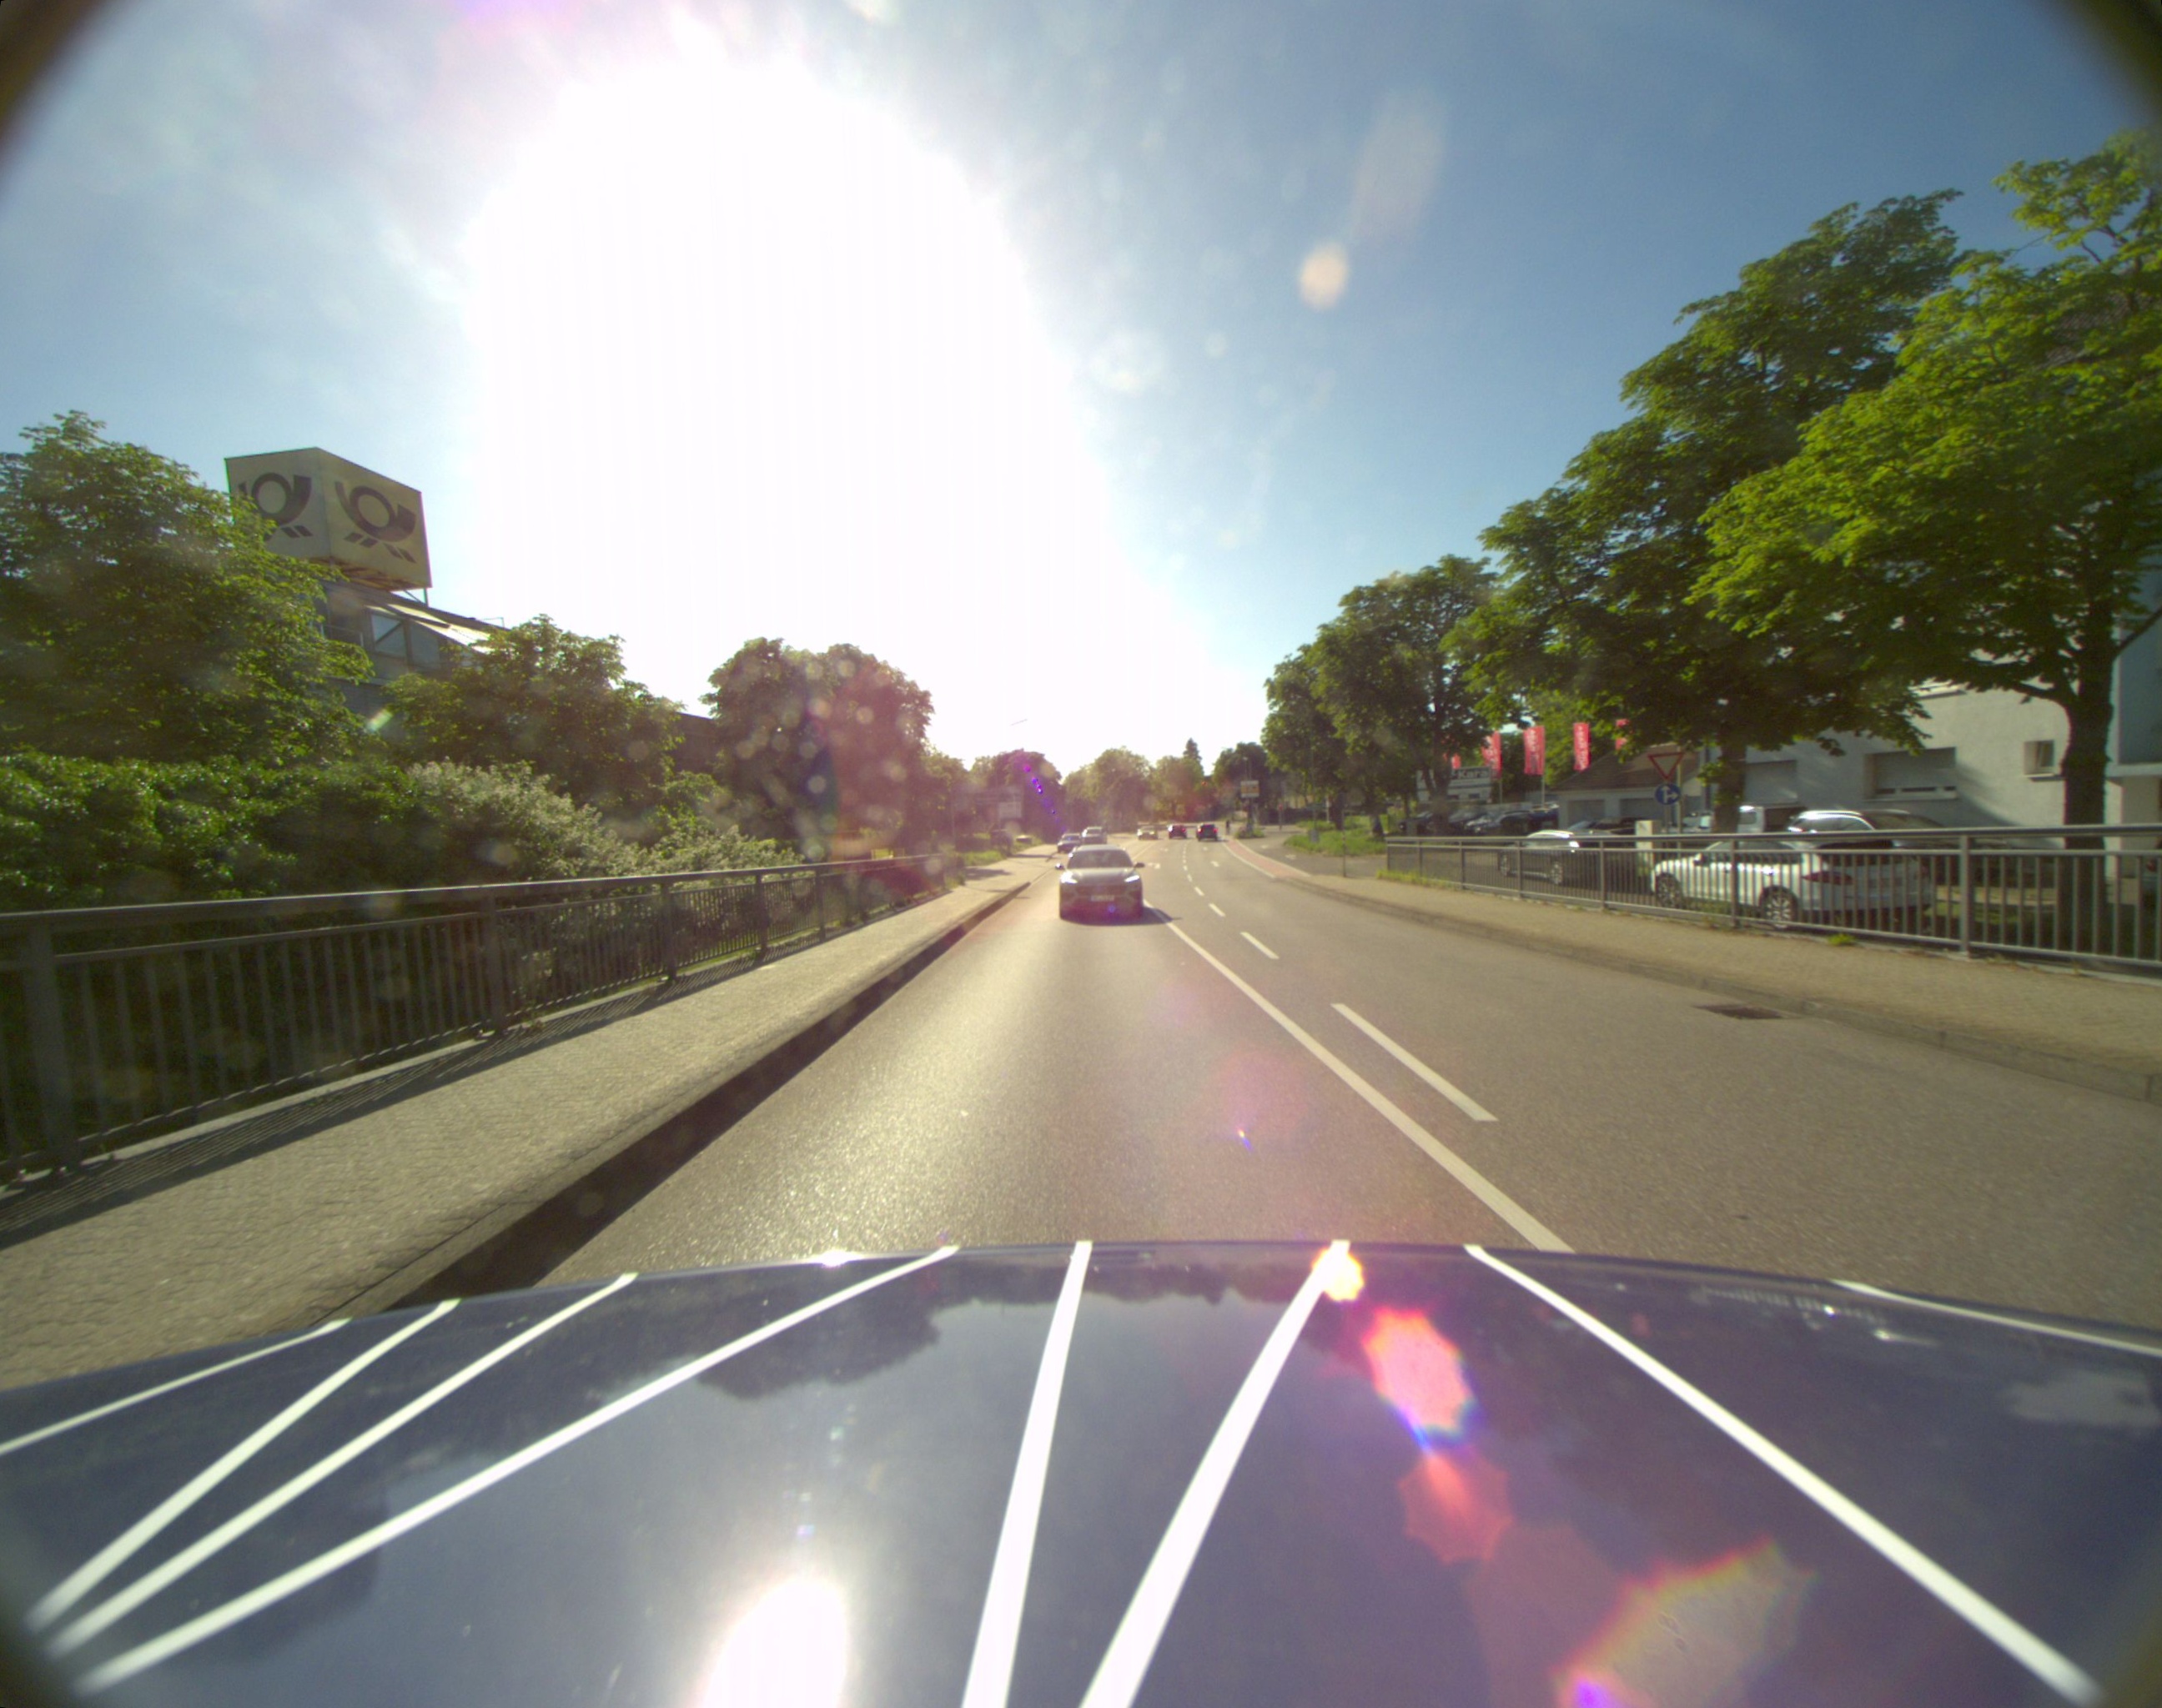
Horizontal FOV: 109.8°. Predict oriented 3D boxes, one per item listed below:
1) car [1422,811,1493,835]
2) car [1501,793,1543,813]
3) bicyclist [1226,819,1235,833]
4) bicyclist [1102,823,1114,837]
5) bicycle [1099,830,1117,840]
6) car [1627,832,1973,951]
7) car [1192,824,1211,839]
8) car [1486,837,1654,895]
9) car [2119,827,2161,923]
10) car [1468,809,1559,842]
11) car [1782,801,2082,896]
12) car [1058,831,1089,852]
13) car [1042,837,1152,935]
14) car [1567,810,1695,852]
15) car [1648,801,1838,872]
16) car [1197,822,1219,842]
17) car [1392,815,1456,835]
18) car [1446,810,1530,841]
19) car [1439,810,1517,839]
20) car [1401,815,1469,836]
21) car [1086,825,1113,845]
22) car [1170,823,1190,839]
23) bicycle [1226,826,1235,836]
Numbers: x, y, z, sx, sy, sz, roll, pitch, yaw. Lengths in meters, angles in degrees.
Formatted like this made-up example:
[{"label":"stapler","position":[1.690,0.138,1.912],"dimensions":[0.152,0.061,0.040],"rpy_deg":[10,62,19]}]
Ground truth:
[{"label":"car","position":[25.446,-2.077,51.399],"dimensions":[3.880,1.405,1.944],"rpy_deg":[-4,3,-11]},{"label":"car","position":[35.621,-4.146,61.462],"dimensions":[1.742,1.454,4.001],"rpy_deg":[-2,3,12]},{"label":"bicyclist","position":[16.561,-3.103,84.123],"dimensions":[0.935,1.394,0.823],"rpy_deg":[-3,3,11]},{"label":"bicyclist","position":[3.423,-3.066,96.441],"dimensions":[0.890,1.684,1.192],"rpy_deg":[-2,3,31]},{"label":"bicycle","position":[3.420,-2.429,96.427],"dimensions":[0.901,1.119,2.957],"rpy_deg":[-2,3,31]},{"label":"car","position":[13.732,0.553,15.140],"dimensions":[2.042,1.719,5.234],"rpy_deg":[-4,3,2]},{"label":"car","position":[12.784,-2.378,80.471],"dimensions":[1.787,1.407,3.891],"rpy_deg":[-2,3,11]},{"label":"car","position":[14.397,0.267,22.787],"dimensions":[2.042,1.456,4.961],"rpy_deg":[-3,1,4]},{"label":"car","position":[19.948,0.289,13.061],"dimensions":[3.673,1.502,1.781],"rpy_deg":[-5,3,-25]},{"label":"car","position":[24.149,-1.590,42.449],"dimensions":[4.410,1.566,1.811],"rpy_deg":[-4,3,-15]},{"label":"car","position":[20.607,-0.240,18.819],"dimensions":[2.074,1.920,4.784],"rpy_deg":[-4,3,1]},{"label":"car","position":[-0.583,-1.032,60.142],"dimensions":[1.812,1.412,4.424],"rpy_deg":[-2,3,7]},{"label":"car","position":[0.468,0.558,16.356],"dimensions":[1.713,1.637,4.055],"rpy_deg":[1,4,10]},{"label":"car","position":[22.781,-0.978,31.560],"dimensions":[3.998,1.422,1.906],"rpy_deg":[-4,4,-2]},{"label":"car","position":[20.658,-0.632,24.086],"dimensions":[1.751,1.920,5.101],"rpy_deg":[-3,3,3]},{"label":"car","position":[11.967,-2.098,71.707],"dimensions":[1.856,1.726,4.271],"rpy_deg":[-3,2,8]},{"label":"car","position":[25.748,-2.188,57.031],"dimensions":[3.934,1.233,2.041],"rpy_deg":[-4,2,-13]},{"label":"car","position":[24.354,-1.692,45.515],"dimensions":[3.999,1.602,1.920],"rpy_deg":[-4,3,-6]},{"label":"car","position":[25.122,-1.877,48.088],"dimensions":[4.001,1.551,1.997],"rpy_deg":[-4,3,-13]},{"label":"car","position":[25.212,-2.044,54.218],"dimensions":[3.934,1.233,2.041],"rpy_deg":[-4,2,-13]},{"label":"car","position":[1.810,-1.814,72.042],"dimensions":[1.876,1.713,4.613],"rpy_deg":[-1,4,10]},{"label":"car","position":[10.523,-2.453,81.112],"dimensions":[1.917,1.590,3.999],"rpy_deg":[-1,3,4]},{"label":"bicycle","position":[16.624,-2.515,84.286],"dimensions":[0.938,1.011,2.198],"rpy_deg":[-3,2,12]}]
